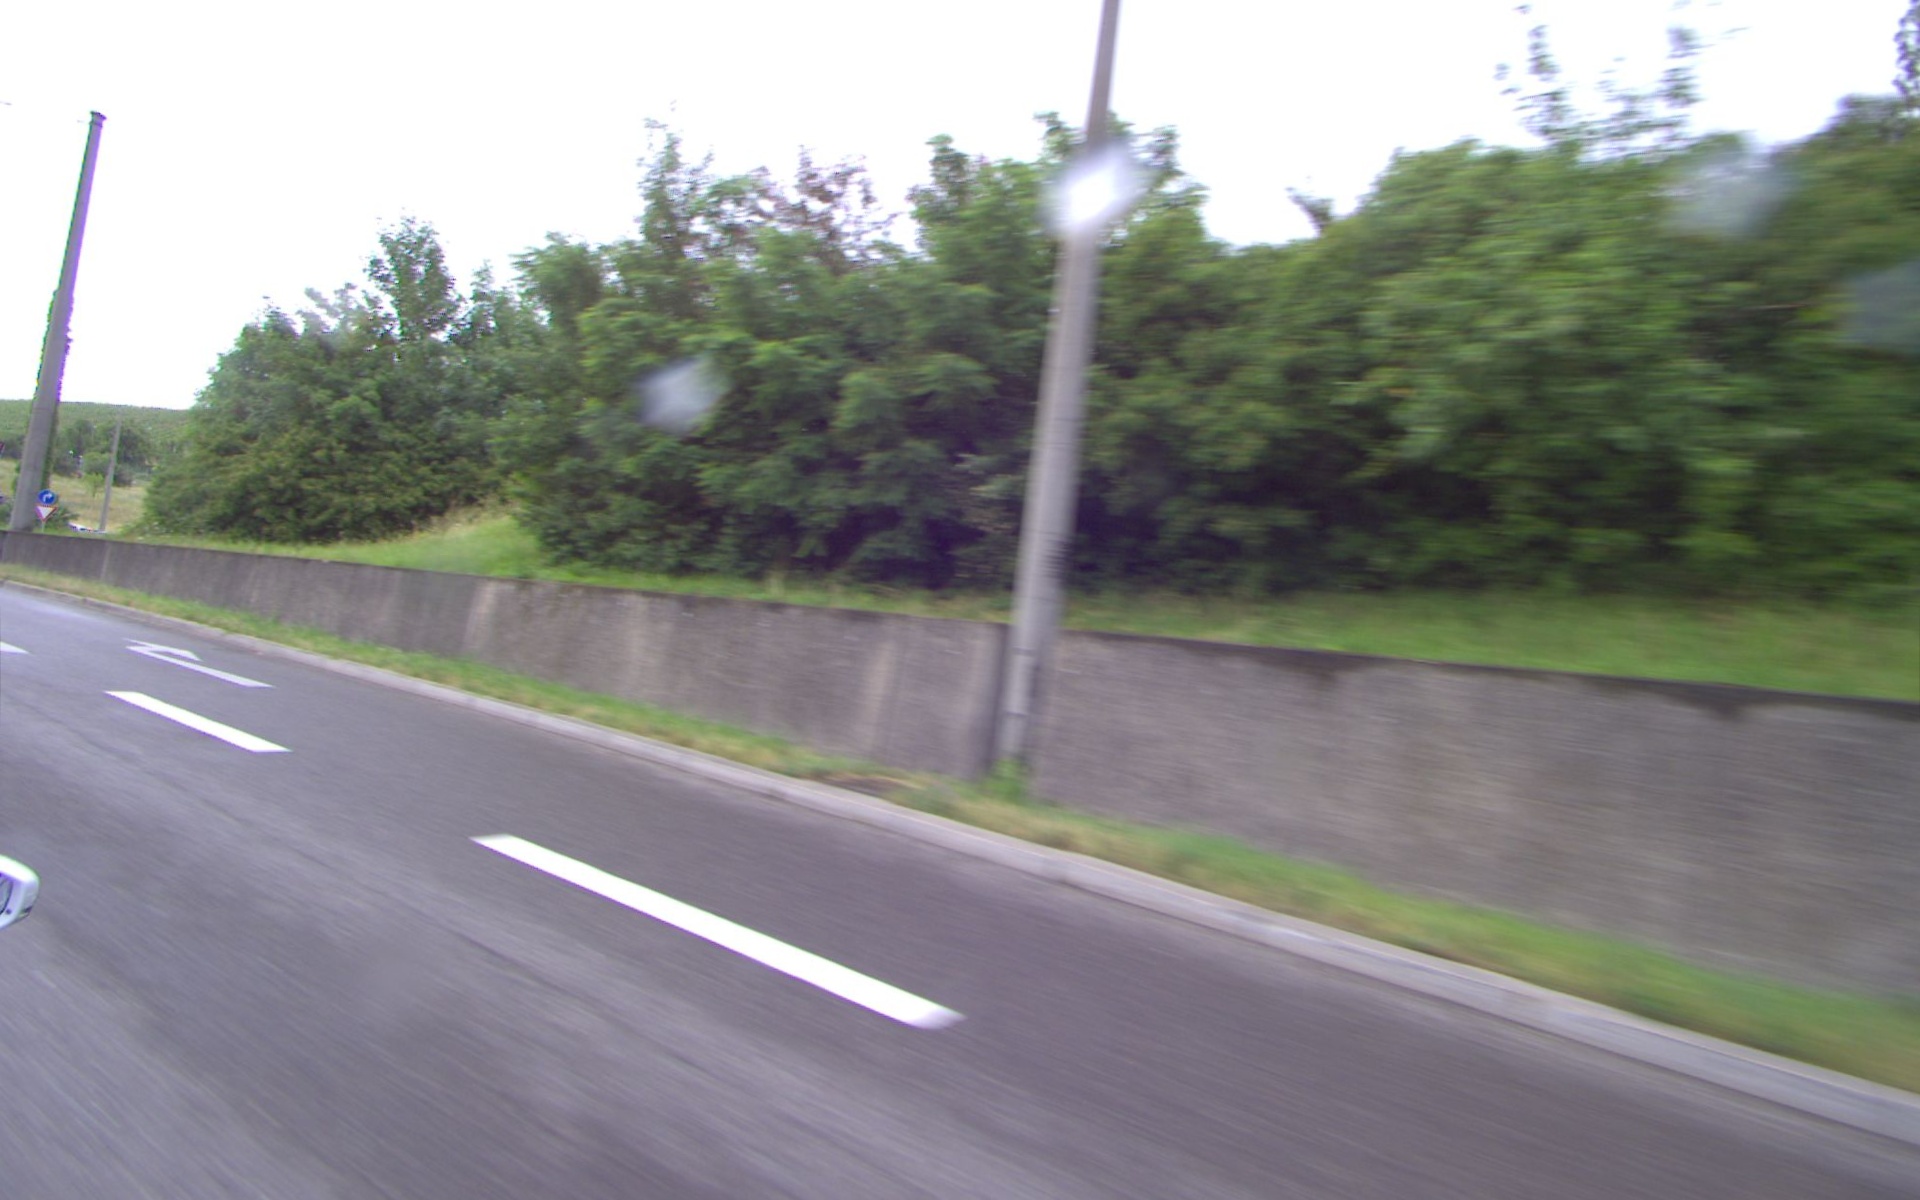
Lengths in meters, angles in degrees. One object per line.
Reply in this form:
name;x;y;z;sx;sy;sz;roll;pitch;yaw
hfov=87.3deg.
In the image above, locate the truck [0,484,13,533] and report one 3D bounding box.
truck;-76.325;-7.551;76.498;6.117;3.567;2.861;10;0;10
